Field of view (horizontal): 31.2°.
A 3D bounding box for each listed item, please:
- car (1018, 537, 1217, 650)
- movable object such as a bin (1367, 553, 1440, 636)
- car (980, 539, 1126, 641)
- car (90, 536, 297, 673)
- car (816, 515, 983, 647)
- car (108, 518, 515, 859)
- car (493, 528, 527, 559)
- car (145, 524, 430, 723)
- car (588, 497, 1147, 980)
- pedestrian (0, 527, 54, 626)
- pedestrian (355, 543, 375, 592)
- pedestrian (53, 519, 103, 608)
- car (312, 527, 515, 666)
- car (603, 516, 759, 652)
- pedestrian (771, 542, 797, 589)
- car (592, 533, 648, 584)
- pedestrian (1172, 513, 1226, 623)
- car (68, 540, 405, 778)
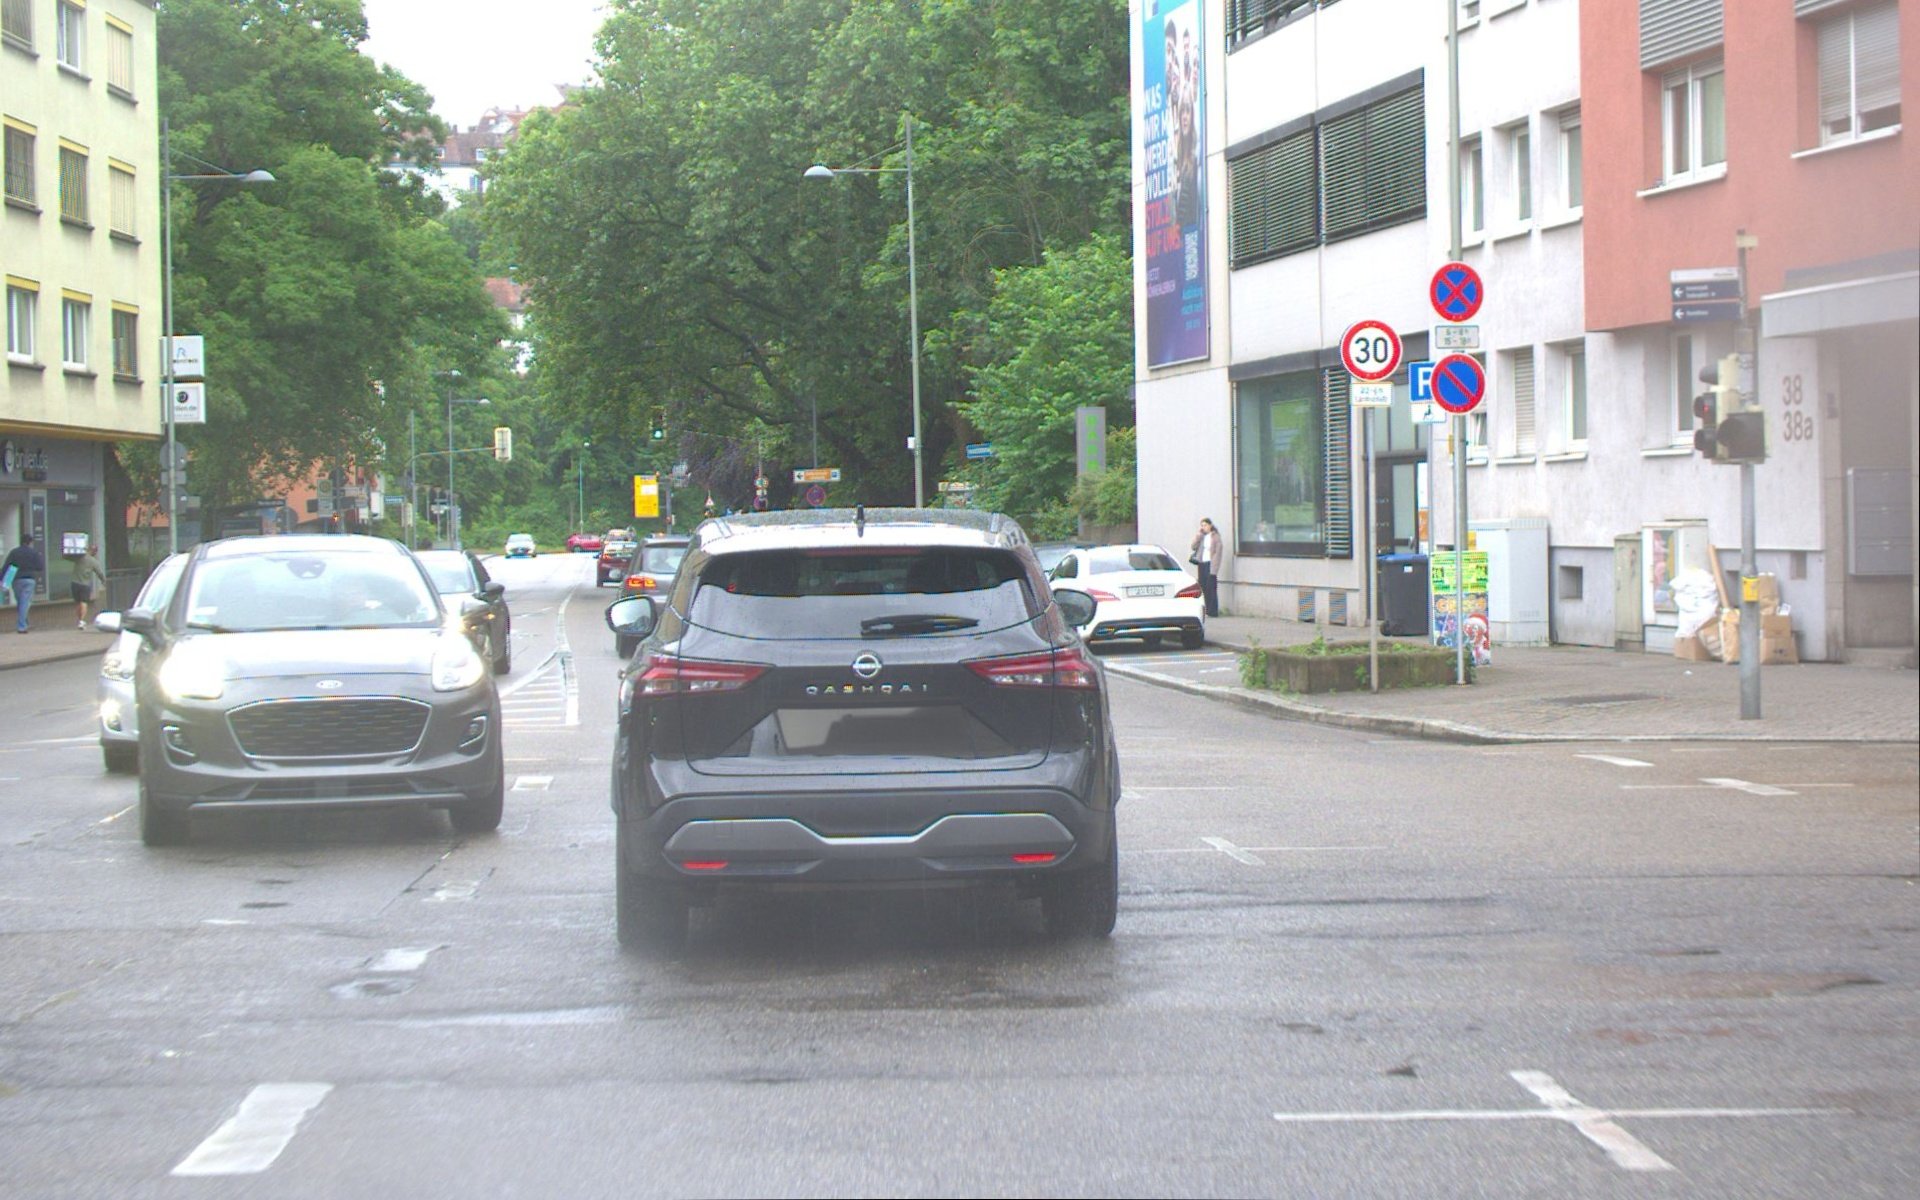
[{"bbox_3d":[2.088,-0.124,47.026,1.774,1.396,4.581,-3,1,-9],"label":"car"},{"bbox_3d":[5.819,-0.082,45.153,0.712,1.064,0.784,-1,1,-13],"label":"movable object such as a bin"},{"bbox_3d":[1.404,-0.186,53.433,1.714,1.437,4.082,-3,1,-6],"label":"car"},{"bbox_3d":[-9.798,0.048,44.256,1.820,1.634,4.374,-1,0,-2],"label":"car"},{"bbox_3d":[-0.952,-0.283,51.591,1.945,1.810,4.001,-3,1,-8],"label":"car"},{"bbox_3d":[-3.528,0.380,18.483,1.855,1.547,4.228,-2,1,-12],"label":"car"},{"bbox_3d":[-27.289,-3.443,208.575,1.820,1.790,3.866,1,1,-5],"label":"car"},{"bbox_3d":[-5.912,0.188,30.696,1.820,1.603,4.431,-1,0,-2],"label":"car"},{"bbox_3d":[-0.473,0.431,13.657,1.894,1.623,4.001,0,1,-5],"label":"car"},{"bbox_3d":[-17.076,-0.433,62.622,0.865,1.782,0.875,2,1,0],"label":"pedestrian"},{"bbox_3d":[-22.117,-1.215,127.726,0.666,1.785,0.722,1,1,-13],"label":"pedestrian"},{"bbox_3d":[-16.836,-0.696,65.629,0.798,1.682,0.817,-1,1,-7],"label":"pedestrian"},{"bbox_3d":[-6.072,-0.035,38.635,1.820,1.428,4.399,-1,0,-4],"label":"car"},{"bbox_3d":[-3.816,-0.219,46.768,1.945,1.679,4.001,-3,1,-5],"label":"car"},{"bbox_3d":[-6.764,-1.321,132.296,0.721,1.785,0.667,2,2,42],"label":"pedestrian"},{"bbox_3d":[-11.274,-1.385,113.902,1.820,1.606,3.866,1,1,-6],"label":"car"},{"bbox_3d":[3.862,-0.512,55.508,0.612,1.731,0.681,-3,1,-13],"label":"pedestrian"},{"bbox_3d":[-5.099,0.385,24.739,1.934,1.521,4.136,-1,0,-6],"label":"car"}]
